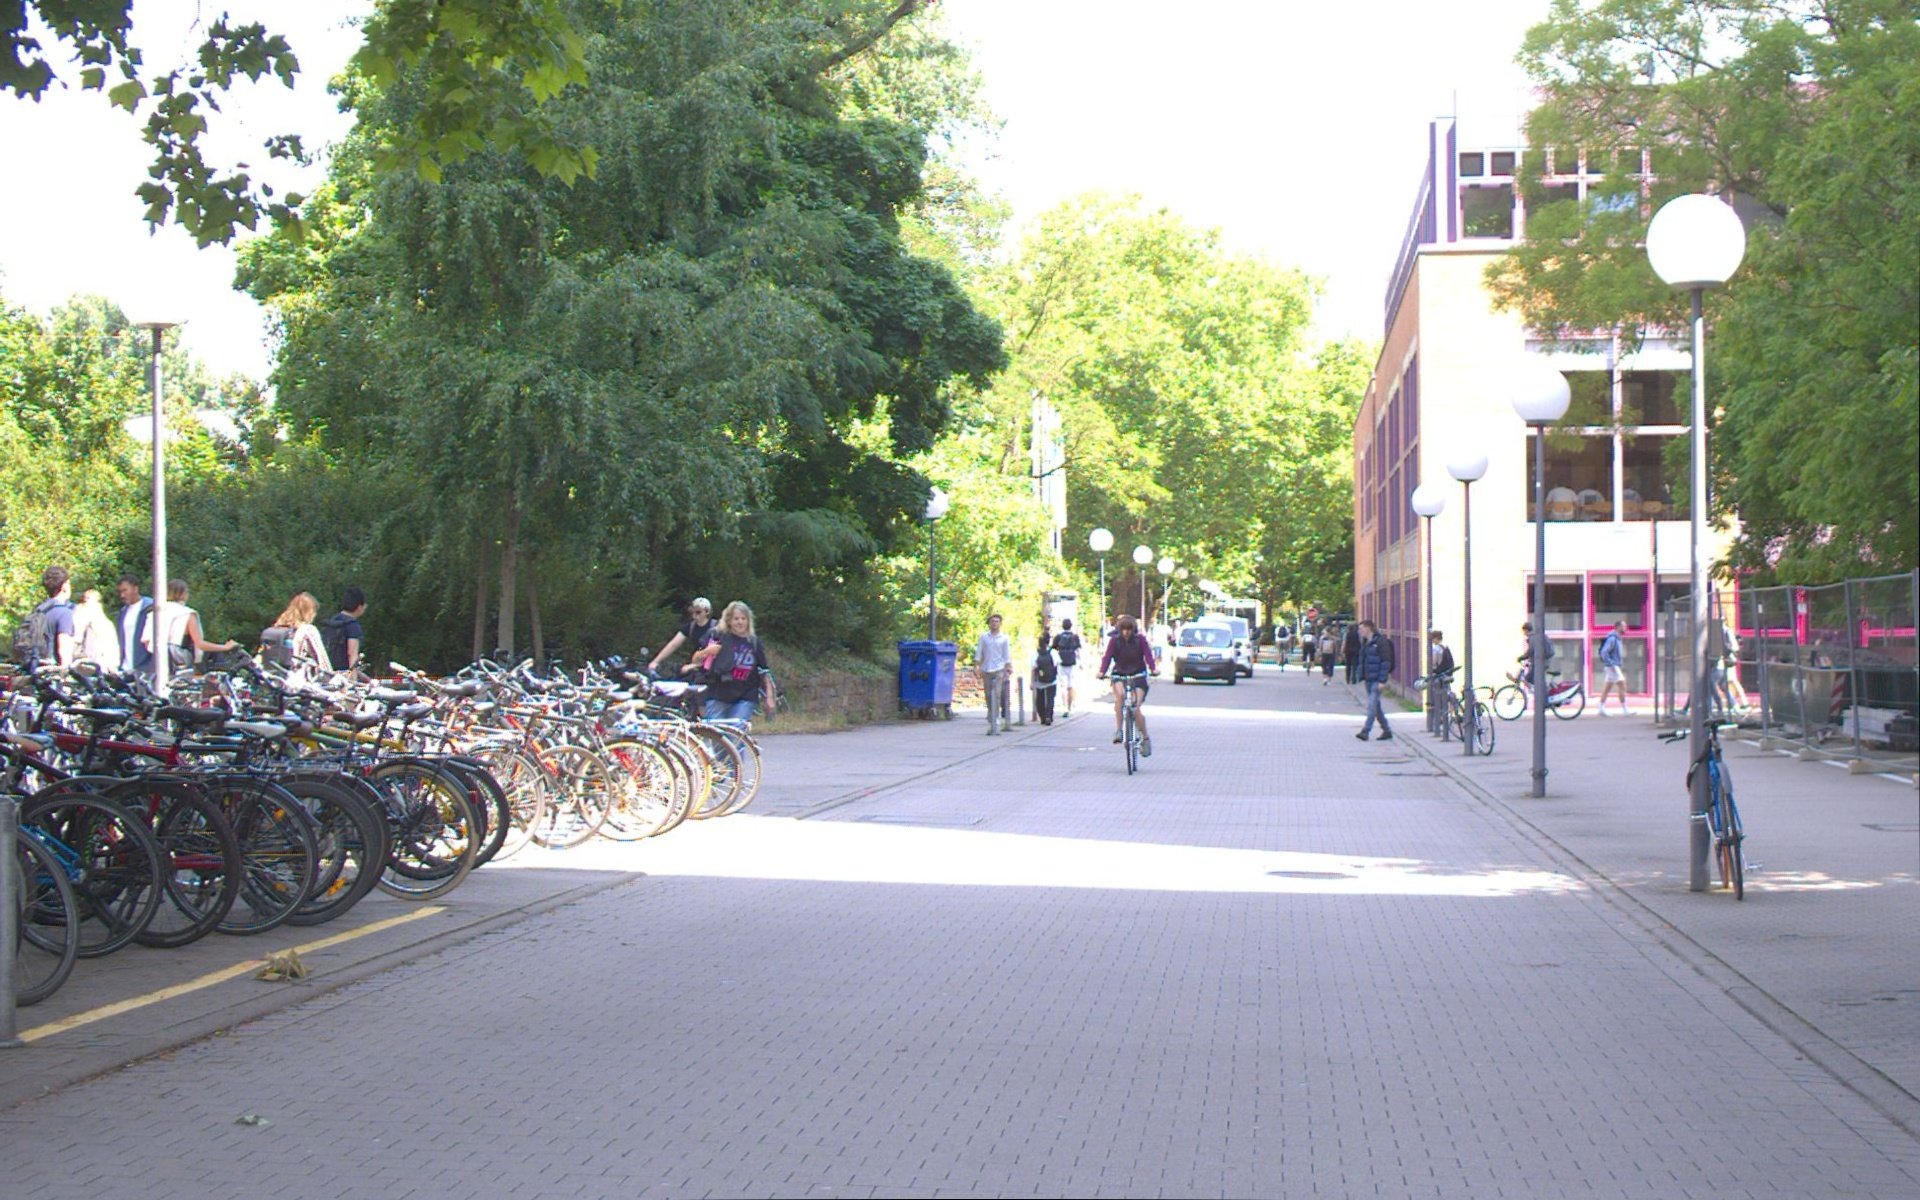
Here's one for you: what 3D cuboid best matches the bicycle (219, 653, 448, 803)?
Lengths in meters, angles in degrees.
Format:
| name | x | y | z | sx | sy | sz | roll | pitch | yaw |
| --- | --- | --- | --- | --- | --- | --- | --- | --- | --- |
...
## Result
| name | x | y | z | sx | sy | sz | roll | pitch | yaw |
| --- | --- | --- | --- | --- | --- | --- | --- | --- | --- |
| bicycle | -4.828 | 0.977 | 26.497 | 1.695 | 1.106 | 0.474 | 1 | -1 | 18 |

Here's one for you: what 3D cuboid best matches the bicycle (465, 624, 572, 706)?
| name | x | y | z | sx | sy | sz | roll | pitch | yaw |
| --- | --- | --- | --- | --- | --- | --- | --- | --- | --- |
| bicycle | -5.818 | 0.862 | 45.389 | 0.473 | 1.043 | 1.697 | 2 | -1 | 27 |

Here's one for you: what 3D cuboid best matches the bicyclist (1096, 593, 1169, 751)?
| name | x | y | z | sx | sy | sz | roll | pitch | yaw |
| --- | --- | --- | --- | --- | --- | --- | --- | --- | --- |
| bicyclist | 1.892 | 0.791 | 37.791 | 0.771 | 1.710 | 0.911 | -1 | -2 | 3 |

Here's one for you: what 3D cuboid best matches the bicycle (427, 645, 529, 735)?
| name | x | y | z | sx | sy | sz | roll | pitch | yaw |
| --- | --- | --- | --- | --- | --- | --- | --- | --- | --- |
| bicycle | -5.837 | 1.079 | 41.584 | 0.472 | 1.043 | 1.699 | 1 | -1 | -35 |

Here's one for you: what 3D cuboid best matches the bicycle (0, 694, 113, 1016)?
| name | x | y | z | sx | sy | sz | roll | pitch | yaw |
| --- | --- | --- | --- | --- | --- | --- | --- | --- | --- |
| bicycle | -4.001 | 0.900 | 12.434 | 1.735 | 1.122 | 0.497 | 1 | -1 | 1 |

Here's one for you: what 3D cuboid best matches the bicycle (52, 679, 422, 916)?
| name | x | y | z | sx | sy | sz | roll | pitch | yaw |
| --- | --- | --- | --- | --- | --- | --- | --- | --- | --- |
| bicycle | -3.477 | 0.948 | 16.621 | 1.694 | 1.104 | 0.474 | 1 | -1 | -6 |

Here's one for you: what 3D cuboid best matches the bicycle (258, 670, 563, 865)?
| name | x | y | z | sx | sy | sz | roll | pitch | yaw |
| --- | --- | --- | --- | --- | --- | --- | --- | --- | --- |
| bicycle | -3.229 | 0.979 | 20.227 | 1.693 | 1.104 | 0.474 | 1 | -1 | -22 |

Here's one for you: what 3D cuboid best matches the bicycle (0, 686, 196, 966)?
| name | x | y | z | sx | sy | sz | roll | pitch | yaw |
| --- | --- | --- | --- | --- | --- | --- | --- | --- | --- |
| bicycle | -4.017 | 0.906 | 13.947 | 1.734 | 1.104 | 0.497 | 1 | -1 | -7 |

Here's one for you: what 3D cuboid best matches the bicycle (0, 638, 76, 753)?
| name | x | y | z | sx | sy | sz | roll | pitch | yaw |
| --- | --- | --- | --- | --- | --- | --- | --- | --- | --- |
| bicycle | -9.564 | 0.930 | 34.086 | 1.775 | 1.106 | 0.473 | 0 | -1 | 34 |

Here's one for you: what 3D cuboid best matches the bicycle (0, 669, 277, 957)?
| name | x | y | z | sx | sy | sz | roll | pitch | yaw |
| --- | --- | --- | --- | --- | --- | --- | --- | --- | --- |
| bicycle | -3.834 | 0.888 | 14.624 | 1.735 | 1.174 | 0.497 | 1 | -1 | 5 |

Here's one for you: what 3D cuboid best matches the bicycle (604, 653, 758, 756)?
| name | x | y | z | sx | sy | sz | roll | pitch | yaw |
| --- | --- | --- | --- | --- | --- | --- | --- | --- | --- |
| bicycle | -3.092 | 1.156 | 38.202 | 0.474 | 1.106 | 1.840 | 0 | -1 | 44 |

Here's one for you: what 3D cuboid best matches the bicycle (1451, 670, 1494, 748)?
| name | x | y | z | sx | sy | sz | roll | pitch | yaw |
| --- | --- | --- | --- | --- | --- | --- | --- | --- | --- |
| bicycle | 6.519 | 1.378 | 43.776 | 0.395 | 0.933 | 1.731 | -2 | -1 | 5 |

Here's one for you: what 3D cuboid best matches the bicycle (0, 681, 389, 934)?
| name | x | y | z | sx | sy | sz | roll | pitch | yaw |
| --- | --- | --- | --- | --- | --- | --- | --- | --- | --- |
| bicycle | -3.480 | 0.937 | 15.634 | 1.694 | 1.104 | 0.497 | 1 | -1 | -5 |

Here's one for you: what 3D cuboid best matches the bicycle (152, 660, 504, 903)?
| name | x | y | z | sx | sy | sz | roll | pitch | yaw |
| --- | --- | --- | --- | --- | --- | --- | --- | --- | --- |
| bicycle | -3.214 | 0.917 | 17.572 | 1.694 | 1.194 | 0.537 | 1 | -1 | -3 |

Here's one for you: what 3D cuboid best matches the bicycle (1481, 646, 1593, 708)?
| name | x | y | z | sx | sy | sz | roll | pitch | yaw |
| --- | --- | --- | --- | --- | --- | --- | --- | --- | --- |
| bicycle | 10.422 | 1.385 | 62.080 | 1.904 | 1.080 | 0.588 | 0 | 0 | 25 |

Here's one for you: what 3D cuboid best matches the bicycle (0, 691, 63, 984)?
| name | x | y | z | sx | sy | sz | roll | pitch | yaw |
| --- | --- | --- | --- | --- | --- | --- | --- | --- | --- |
| bicycle | -4.344 | 0.899 | 13.121 | 1.734 | 1.104 | 0.497 | 1 | -1 | -18 |

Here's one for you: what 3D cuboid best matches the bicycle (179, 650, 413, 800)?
| name | x | y | z | sx | sy | sz | roll | pitch | yaw |
| --- | --- | --- | --- | --- | --- | --- | --- | --- | --- |
| bicycle | -5.017 | 0.933 | 25.957 | 1.720 | 1.080 | 0.473 | 1 | -1 | 20 |

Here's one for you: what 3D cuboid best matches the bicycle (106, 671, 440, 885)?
| name | x | y | z | sx | sy | sz | roll | pitch | yaw |
| --- | --- | --- | --- | --- | --- | --- | --- | --- | --- |
| bicycle | -3.670 | 0.948 | 18.450 | 1.694 | 1.104 | 0.566 | 1 | -1 | -6 |

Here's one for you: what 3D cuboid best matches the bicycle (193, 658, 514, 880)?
| name | x | y | z | sx | sy | sz | roll | pitch | yaw |
| --- | --- | --- | --- | --- | --- | --- | --- | --- | --- |
| bicycle | -3.333 | 0.927 | 18.973 | 1.694 | 1.183 | 0.474 | 1 | -1 | -6 |

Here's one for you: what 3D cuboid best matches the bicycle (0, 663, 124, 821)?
| name | x | y | z | sx | sy | sz | roll | pitch | yaw |
| --- | --- | --- | --- | --- | --- | --- | --- | --- | --- |
| bicycle | -6.669 | 1.005 | 24.758 | 0.473 | 1.080 | 1.699 | 2 | -1 | -43 |

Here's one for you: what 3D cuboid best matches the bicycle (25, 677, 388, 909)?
| name | x | y | z | sx | sy | sz | roll | pitch | yaw |
| --- | --- | --- | --- | --- | --- | --- | --- | --- | --- |
| bicycle | -3.713 | 0.951 | 17.018 | 1.694 | 1.104 | 0.474 | 1 | -1 | -6 |

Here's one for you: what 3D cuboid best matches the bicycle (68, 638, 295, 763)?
| name | x | y | z | sx | sy | sz | roll | pitch | yaw |
| --- | --- | --- | --- | --- | --- | --- | --- | --- | --- |
| bicycle | -6.811 | 0.878 | 30.136 | 1.902 | 1.043 | 0.542 | 1 | 0 | -12 |

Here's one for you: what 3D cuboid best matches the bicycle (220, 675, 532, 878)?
| name | x | y | z | sx | sy | sz | roll | pitch | yaw |
| --- | --- | --- | --- | --- | --- | --- | --- | --- | --- |
| bicycle | -3.295 | 0.995 | 19.499 | 1.694 | 1.104 | 0.582 | 1 | -1 | -6 |

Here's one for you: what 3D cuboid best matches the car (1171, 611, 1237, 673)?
| name | x | y | z | sx | sy | sz | roll | pitch | yaw |
| --- | --- | --- | --- | --- | --- | --- | --- | --- | --- |
| car | 7.070 | 1.200 | 99.396 | 1.790 | 1.756 | 4.480 | 0 | 0 | 5 |

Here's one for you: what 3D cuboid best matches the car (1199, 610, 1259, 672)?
| name | x | y | z | sx | sy | sz | roll | pitch | yaw |
| --- | --- | --- | --- | --- | --- | --- | --- | --- | --- |
| car | 8.870 | 1.333 | 112.950 | 1.884 | 1.967 | 5.213 | 0 | 0 | 5 |

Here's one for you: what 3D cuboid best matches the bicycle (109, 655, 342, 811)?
| name | x | y | z | sx | sy | sz | roll | pitch | yaw |
| --- | --- | --- | --- | --- | --- | --- | --- | --- | --- |
| bicycle | -5.347 | 0.951 | 24.999 | 1.696 | 1.080 | 0.473 | 1 | -1 | 25 |

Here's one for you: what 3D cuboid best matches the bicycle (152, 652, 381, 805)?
| name | x | y | z | sx | sy | sz | roll | pitch | yaw |
| --- | --- | --- | --- | --- | --- | --- | --- | --- | --- |
| bicycle | -5.139 | 0.939 | 25.448 | 1.696 | 1.080 | 0.473 | 1 | -1 | 25 |

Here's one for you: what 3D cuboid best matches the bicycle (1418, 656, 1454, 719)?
| name | x | y | z | sx | sy | sz | roll | pitch | yaw |
| --- | --- | --- | --- | --- | --- | --- | --- | --- | --- |
| bicycle | 7.616 | 1.388 | 55.034 | 0.451 | 0.958 | 1.740 | -2 | -1 | 5 |

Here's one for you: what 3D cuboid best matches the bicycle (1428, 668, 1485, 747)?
| name | x | y | z | sx | sy | sz | roll | pitch | yaw |
| --- | --- | --- | --- | --- | --- | --- | --- | --- | --- |
| bicycle | 7.166 | 1.547 | 49.684 | 0.708 | 1.089 | 1.748 | 1 | 0 | 5 |

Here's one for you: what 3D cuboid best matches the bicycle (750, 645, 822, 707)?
| name | x | y | z | sx | sy | sz | roll | pitch | yaw |
| --- | --- | --- | --- | --- | --- | --- | --- | --- | --- |
| bicycle | -2.637 | 1.166 | 52.359 | 0.422 | 0.907 | 1.738 | 0 | -2 | 20 |

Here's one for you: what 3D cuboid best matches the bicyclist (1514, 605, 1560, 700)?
| name | x | y | z | sx | sy | sz | roll | pitch | yaw |
| --- | --- | --- | --- | --- | --- | --- | --- | --- | --- |
| bicyclist | 10.425 | 0.940 | 62.097 | 0.664 | 1.710 | 0.588 | 0 | -1 | 25 |

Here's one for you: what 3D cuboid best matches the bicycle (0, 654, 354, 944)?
| name | x | y | z | sx | sy | sz | roll | pitch | yaw |
| --- | --- | --- | --- | --- | --- | --- | --- | --- | --- |
| bicycle | -3.589 | 0.867 | 15.164 | 1.735 | 1.231 | 0.497 | 1 | -1 | -2 |

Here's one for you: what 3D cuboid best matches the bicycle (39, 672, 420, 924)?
| name | x | y | z | sx | sy | sz | roll | pitch | yaw |
| --- | --- | --- | --- | --- | --- | --- | --- | --- | --- |
| bicycle | -3.416 | 0.926 | 16.155 | 1.694 | 1.141 | 0.474 | 1 | -1 | -6 |

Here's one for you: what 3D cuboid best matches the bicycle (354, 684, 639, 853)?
| name | x | y | z | sx | sy | sz | roll | pitch | yaw |
| --- | --- | --- | --- | --- | --- | --- | --- | --- | --- |
| bicycle | -2.886 | 1.043 | 21.463 | 1.694 | 1.015 | 0.474 | 1 | -1 | -29 |

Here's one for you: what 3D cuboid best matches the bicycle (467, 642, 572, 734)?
| name | x | y | z | sx | sy | sz | roll | pitch | yaw |
| --- | --- | --- | --- | --- | --- | --- | --- | --- | --- |
| bicycle | -5.392 | 1.068 | 42.028 | 0.472 | 1.043 | 1.699 | 3 | -1 | -35 |

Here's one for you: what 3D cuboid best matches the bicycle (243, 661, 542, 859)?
| name | x | y | z | sx | sy | sz | roll | pitch | yaw |
| --- | --- | --- | --- | --- | --- | --- | --- | --- | --- |
| bicycle | -3.405 | 0.955 | 20.659 | 1.693 | 1.153 | 0.474 | 1 | -1 | -22 |

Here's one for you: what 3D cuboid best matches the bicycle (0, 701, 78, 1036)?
| name | x | y | z | sx | sy | sz | roll | pitch | yaw |
| --- | --- | --- | --- | --- | --- | --- | --- | --- | --- |
| bicycle | -3.968 | 0.894 | 11.808 | 1.735 | 1.104 | 0.497 | 1 | -1 | 6 |

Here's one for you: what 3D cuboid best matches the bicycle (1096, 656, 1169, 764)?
| name | x | y | z | sx | sy | sz | roll | pitch | yaw |
| --- | --- | --- | --- | --- | --- | --- | --- | --- | --- |
| bicycle | 1.894 | 1.199 | 37.804 | 0.771 | 1.146 | 2.108 | -1 | -1 | 3 |
